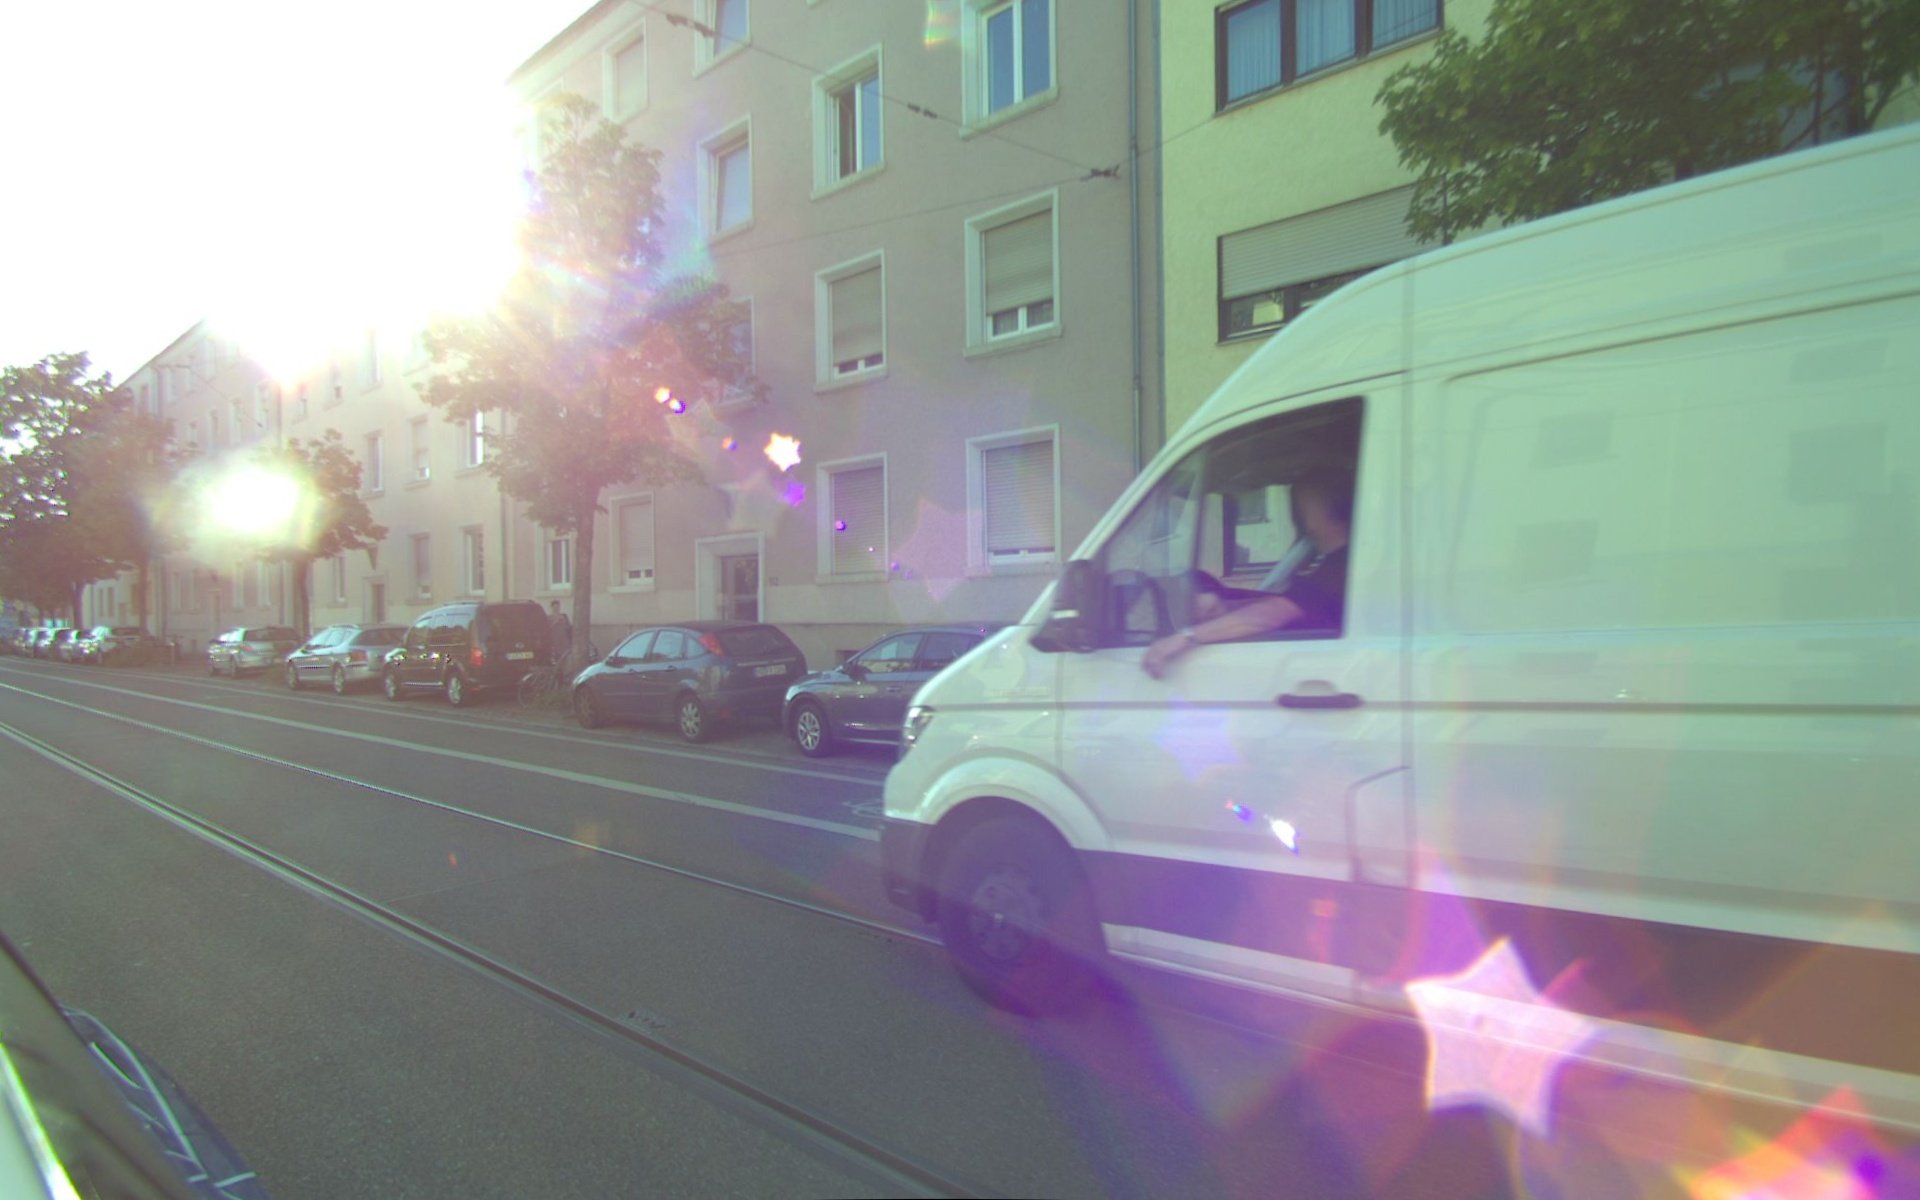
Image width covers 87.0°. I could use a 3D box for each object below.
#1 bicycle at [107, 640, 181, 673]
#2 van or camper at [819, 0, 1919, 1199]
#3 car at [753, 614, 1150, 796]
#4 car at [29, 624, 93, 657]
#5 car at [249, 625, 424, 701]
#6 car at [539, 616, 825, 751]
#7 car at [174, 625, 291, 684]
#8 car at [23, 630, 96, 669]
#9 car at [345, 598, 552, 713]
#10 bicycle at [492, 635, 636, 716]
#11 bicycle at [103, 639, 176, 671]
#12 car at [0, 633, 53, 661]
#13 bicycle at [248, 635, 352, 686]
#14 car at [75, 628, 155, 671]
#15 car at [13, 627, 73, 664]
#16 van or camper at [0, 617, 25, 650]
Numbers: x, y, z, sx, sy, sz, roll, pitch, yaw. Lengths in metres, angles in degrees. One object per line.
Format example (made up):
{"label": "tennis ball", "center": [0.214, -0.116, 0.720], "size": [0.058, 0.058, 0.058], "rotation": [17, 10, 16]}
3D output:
{"label": "bicycle", "center": [-30.867, 2.124, 38.332], "size": [0.530, 1.151, 2.124], "rotation": [-2, -1, 37]}
{"label": "van or camper", "center": [2.784, 0.096, 2.693], "size": [6.831, 2.572, 2.345], "rotation": [-2, -1, 41]}
{"label": "car", "center": [-0.219, 0.974, 10.798], "size": [4.039, 1.484, 1.747], "rotation": [-2, 1, 41]}
{"label": "car", "center": [-44.532, 1.994, 50.113], "size": [4.042, 1.563, 1.668], "rotation": [-2, -1, 38]}
{"label": "car", "center": [-13.948, 1.349, 22.514], "size": [4.852, 1.484, 1.748], "rotation": [-2, -1, 38]}
{"label": "car", "center": [-3.925, 1.043, 13.920], "size": [4.179, 1.484, 1.747], "rotation": [-2, 1, 42]}
{"label": "car", "center": [-20.638, 1.493, 28.630], "size": [4.751, 1.484, 1.746], "rotation": [-2, -1, 42]}
{"label": "car", "center": [-39.206, 2.132, 44.040], "size": [4.042, 1.563, 1.668], "rotation": [-2, -1, 38]}
{"label": "car", "center": [-9.724, 0.994, 19.104], "size": [4.418, 1.859, 1.748], "rotation": [-2, 1, 39]}
{"label": "bicycle", "center": [-6.526, 1.213, 16.778], "size": [0.745, 1.113, 2.091], "rotation": [-2, 1, 39]}
{"label": "bicycle", "center": [-31.418, 2.089, 38.787], "size": [0.535, 1.151, 2.124], "rotation": [-2, -1, 37]}
{"label": "car", "center": [-54.541, 2.720, 59.089], "size": [3.945, 1.563, 1.668], "rotation": [-2, -1, 38]}
{"label": "bicycle", "center": [-16.985, 1.547, 26.097], "size": [0.658, 1.151, 2.124], "rotation": [-2, 0, 37]}
{"label": "car", "center": [-34.210, 1.975, 40.929], "size": [4.042, 1.635, 1.668], "rotation": [-2, -1, 38]}
{"label": "car", "center": [-47.823, 2.358, 52.751], "size": [4.042, 1.800, 1.668], "rotation": [-2, -1, 38]}
{"label": "van or camper", "center": [-74.934, 2.630, 79.310], "size": [5.499, 2.432, 2.047], "rotation": [-2, -1, 43]}
